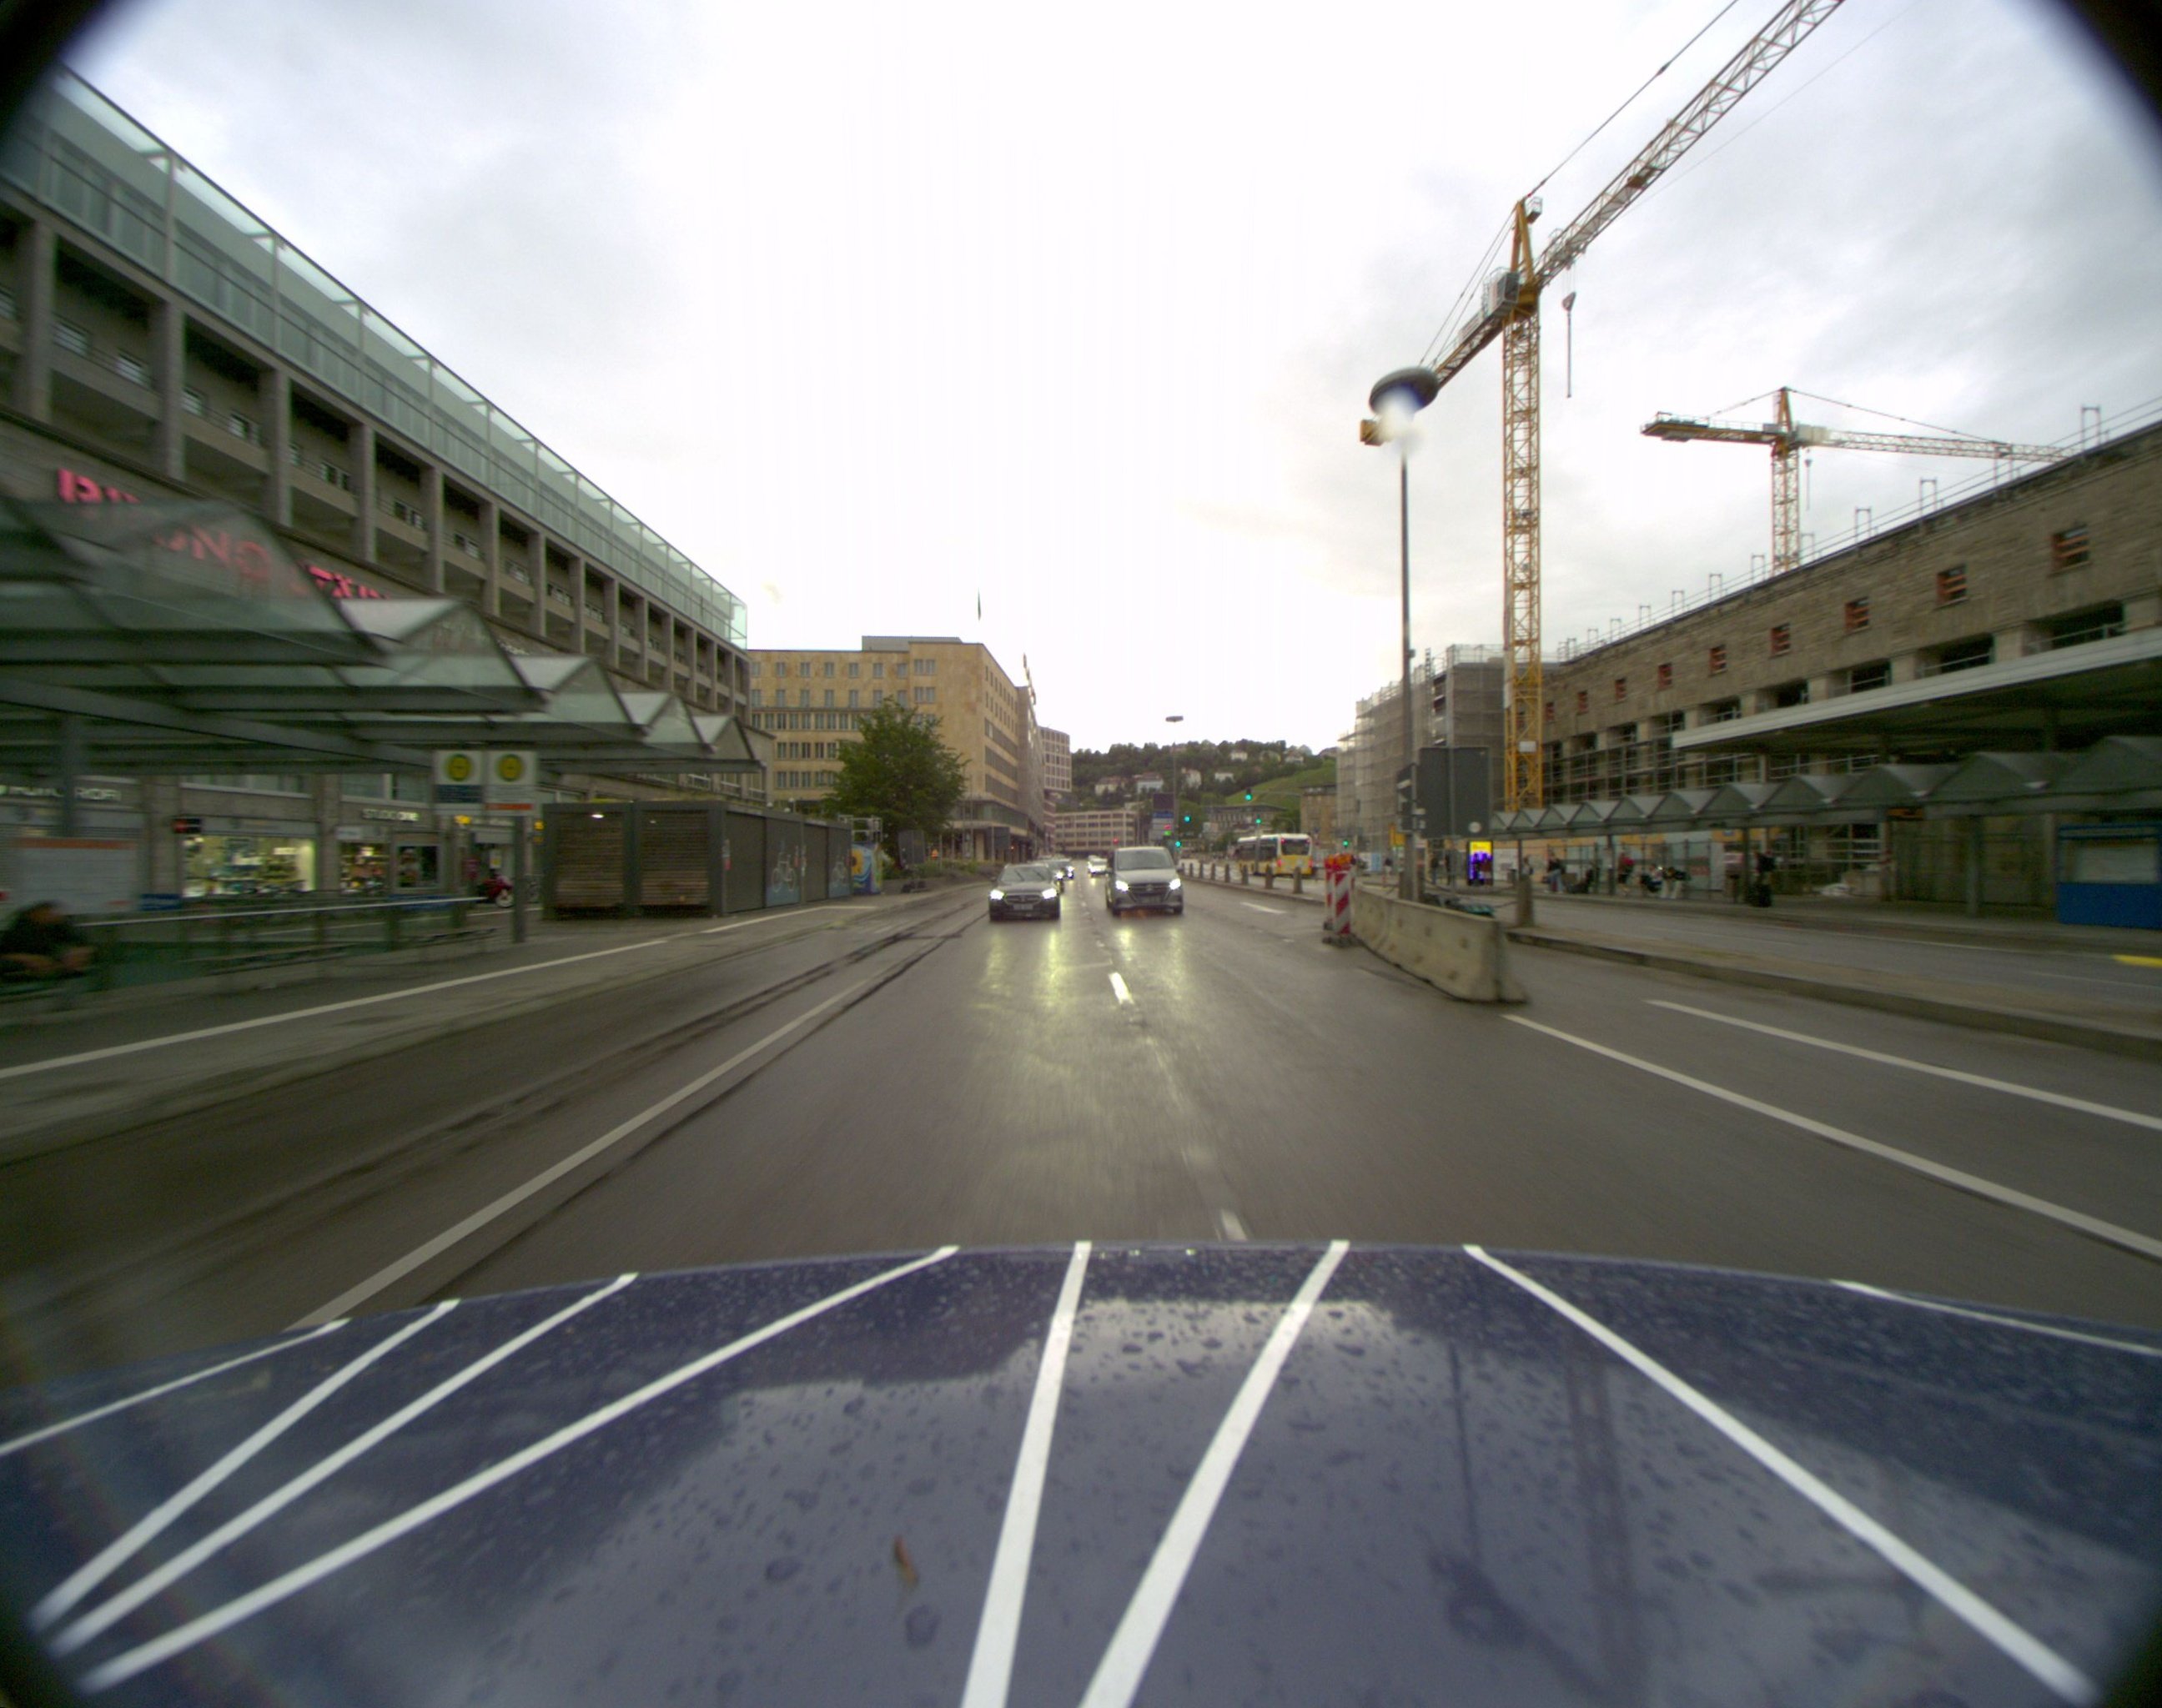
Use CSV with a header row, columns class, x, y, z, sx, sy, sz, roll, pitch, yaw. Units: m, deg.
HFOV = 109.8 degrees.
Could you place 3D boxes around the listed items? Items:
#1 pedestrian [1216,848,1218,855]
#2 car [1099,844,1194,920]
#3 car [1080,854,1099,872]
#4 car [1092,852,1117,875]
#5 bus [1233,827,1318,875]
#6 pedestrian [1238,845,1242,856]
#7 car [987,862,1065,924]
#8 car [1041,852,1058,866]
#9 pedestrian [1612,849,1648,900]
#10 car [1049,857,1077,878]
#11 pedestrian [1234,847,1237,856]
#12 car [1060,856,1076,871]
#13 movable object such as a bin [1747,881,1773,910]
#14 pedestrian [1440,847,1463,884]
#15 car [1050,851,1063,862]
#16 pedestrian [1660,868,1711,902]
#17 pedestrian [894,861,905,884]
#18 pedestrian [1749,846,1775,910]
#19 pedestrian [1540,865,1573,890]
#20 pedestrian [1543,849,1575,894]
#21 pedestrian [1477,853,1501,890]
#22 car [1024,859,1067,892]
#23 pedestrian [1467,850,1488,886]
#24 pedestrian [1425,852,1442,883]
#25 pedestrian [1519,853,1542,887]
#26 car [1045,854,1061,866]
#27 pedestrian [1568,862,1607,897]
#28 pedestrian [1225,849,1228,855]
class,x,y,z,sx,sy,sz,roll,pitch,yaw
pedestrian,30.411,-0.521,169.789,0.438,1.606,0.413,-1,0,1
car,1.768,0.718,22.263,1.999,1.893,5.249,-2,0,-3
car,0.856,0.914,79.252,1.872,1.715,3.901,-2,1,-1
car,1.958,0.755,63.692,1.872,1.747,3.901,-2,1,-1
bus,16.272,-0.241,65.702,2.917,3.557,19.078,0,0,1
pedestrian,28.295,-0.588,135.384,0.593,2.022,0.686,-1,0,0
car,-1.463,1.021,21.747,1.823,1.455,4.700,-2,0,0
car,-4.303,0.699,103.750,1.998,1.873,4.996,-1,0,0
pedestrian,19.597,0.713,27.125,0.673,1.780,0.782,-1,0,-20
car,-1.351,0.991,58.896,1.998,1.548,3.908,-1,0,0
pedestrian,27.290,-0.376,134.076,0.438,1.606,0.413,-1,0,0
car,-1.477,1.099,88.142,1.763,1.582,3.842,-2,1,0
movable object such as a bin,19.496,1.190,21.811,0.510,0.785,0.635,1,1,44
pedestrian,19.518,0.599,40.017,0.761,1.947,0.822,-1,1,-4
car,-3.925,0.412,121.777,1.998,1.600,4.876,-1,0,0
pedestrian,21.218,1.078,26.707,0.952,1.151,1.054,-1,0,-1
pedestrian,-14.036,1.407,58.791,0.699,1.741,0.837,-1,0,-2
pedestrian,19.959,0.688,22.267,0.556,1.837,0.679,0,1,45
pedestrian,20.957,1.034,33.498,0.846,1.086,0.926,-1,0,-2
pedestrian,19.232,0.708,30.571,0.777,1.780,0.861,-1,0,6
pedestrian,19.882,0.842,37.049,0.726,1.780,0.747,-1,0,-7
car,-1.678,1.029,37.482,1.877,1.499,4.164,-1,0,0
pedestrian,20.156,0.718,38.618,0.557,1.780,0.804,-1,0,-9
pedestrian,20.091,0.769,43.278,0.700,1.780,0.795,-1,0,11
pedestrian,21.688,0.773,36.672,0.557,1.621,0.804,-1,0,-9
car,-4.046,0.876,109.771,1.998,1.644,5.134,-1,0,0
pedestrian,20.989,1.048,31.480,1.058,1.424,0.831,-1,0,-2
pedestrian,30.358,-0.367,158.544,0.438,1.233,0.413,-1,0,3
